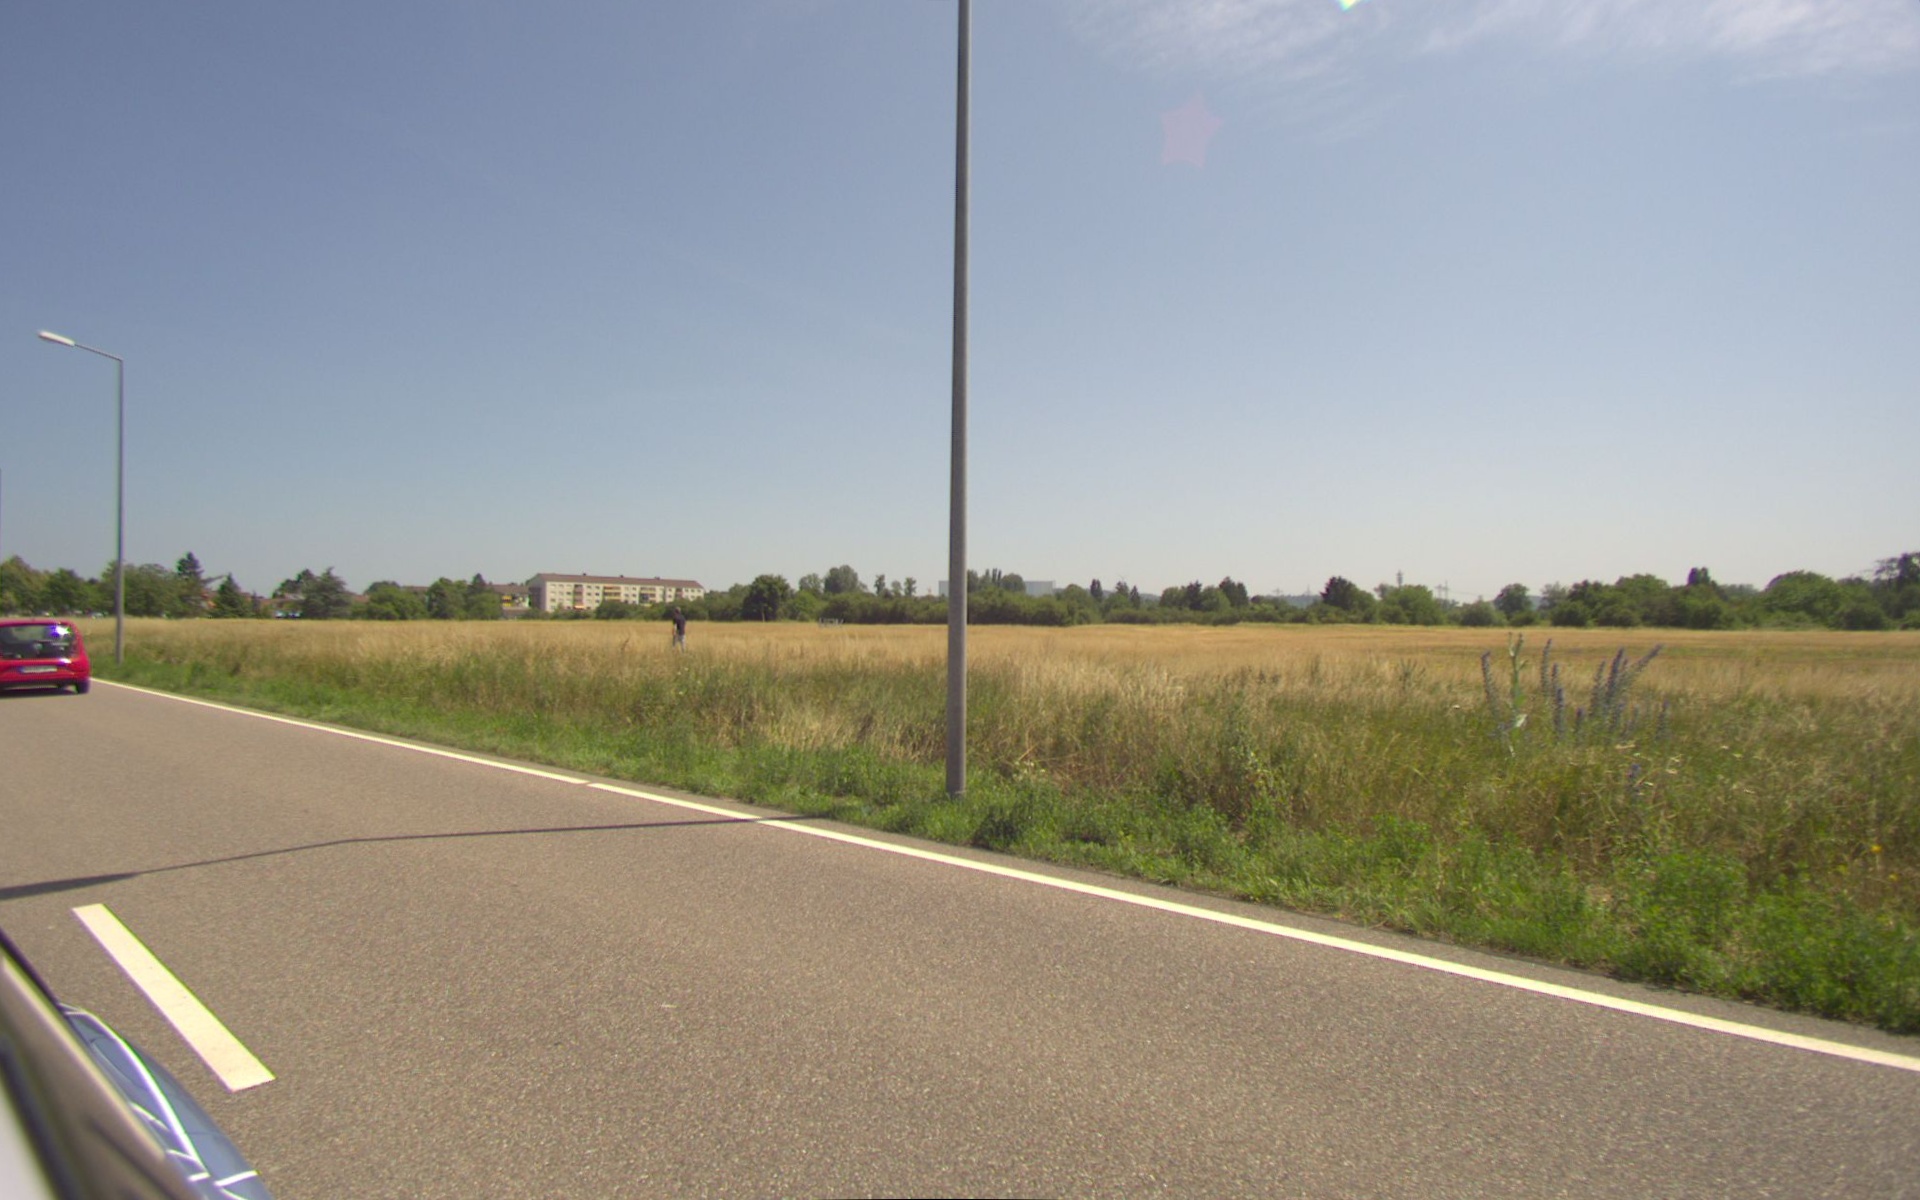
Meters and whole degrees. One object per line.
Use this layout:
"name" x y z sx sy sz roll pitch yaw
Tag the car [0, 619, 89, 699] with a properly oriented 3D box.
"car" -18.639 1.109 19.994 3.843 1.410 1.628 0 -1 41
